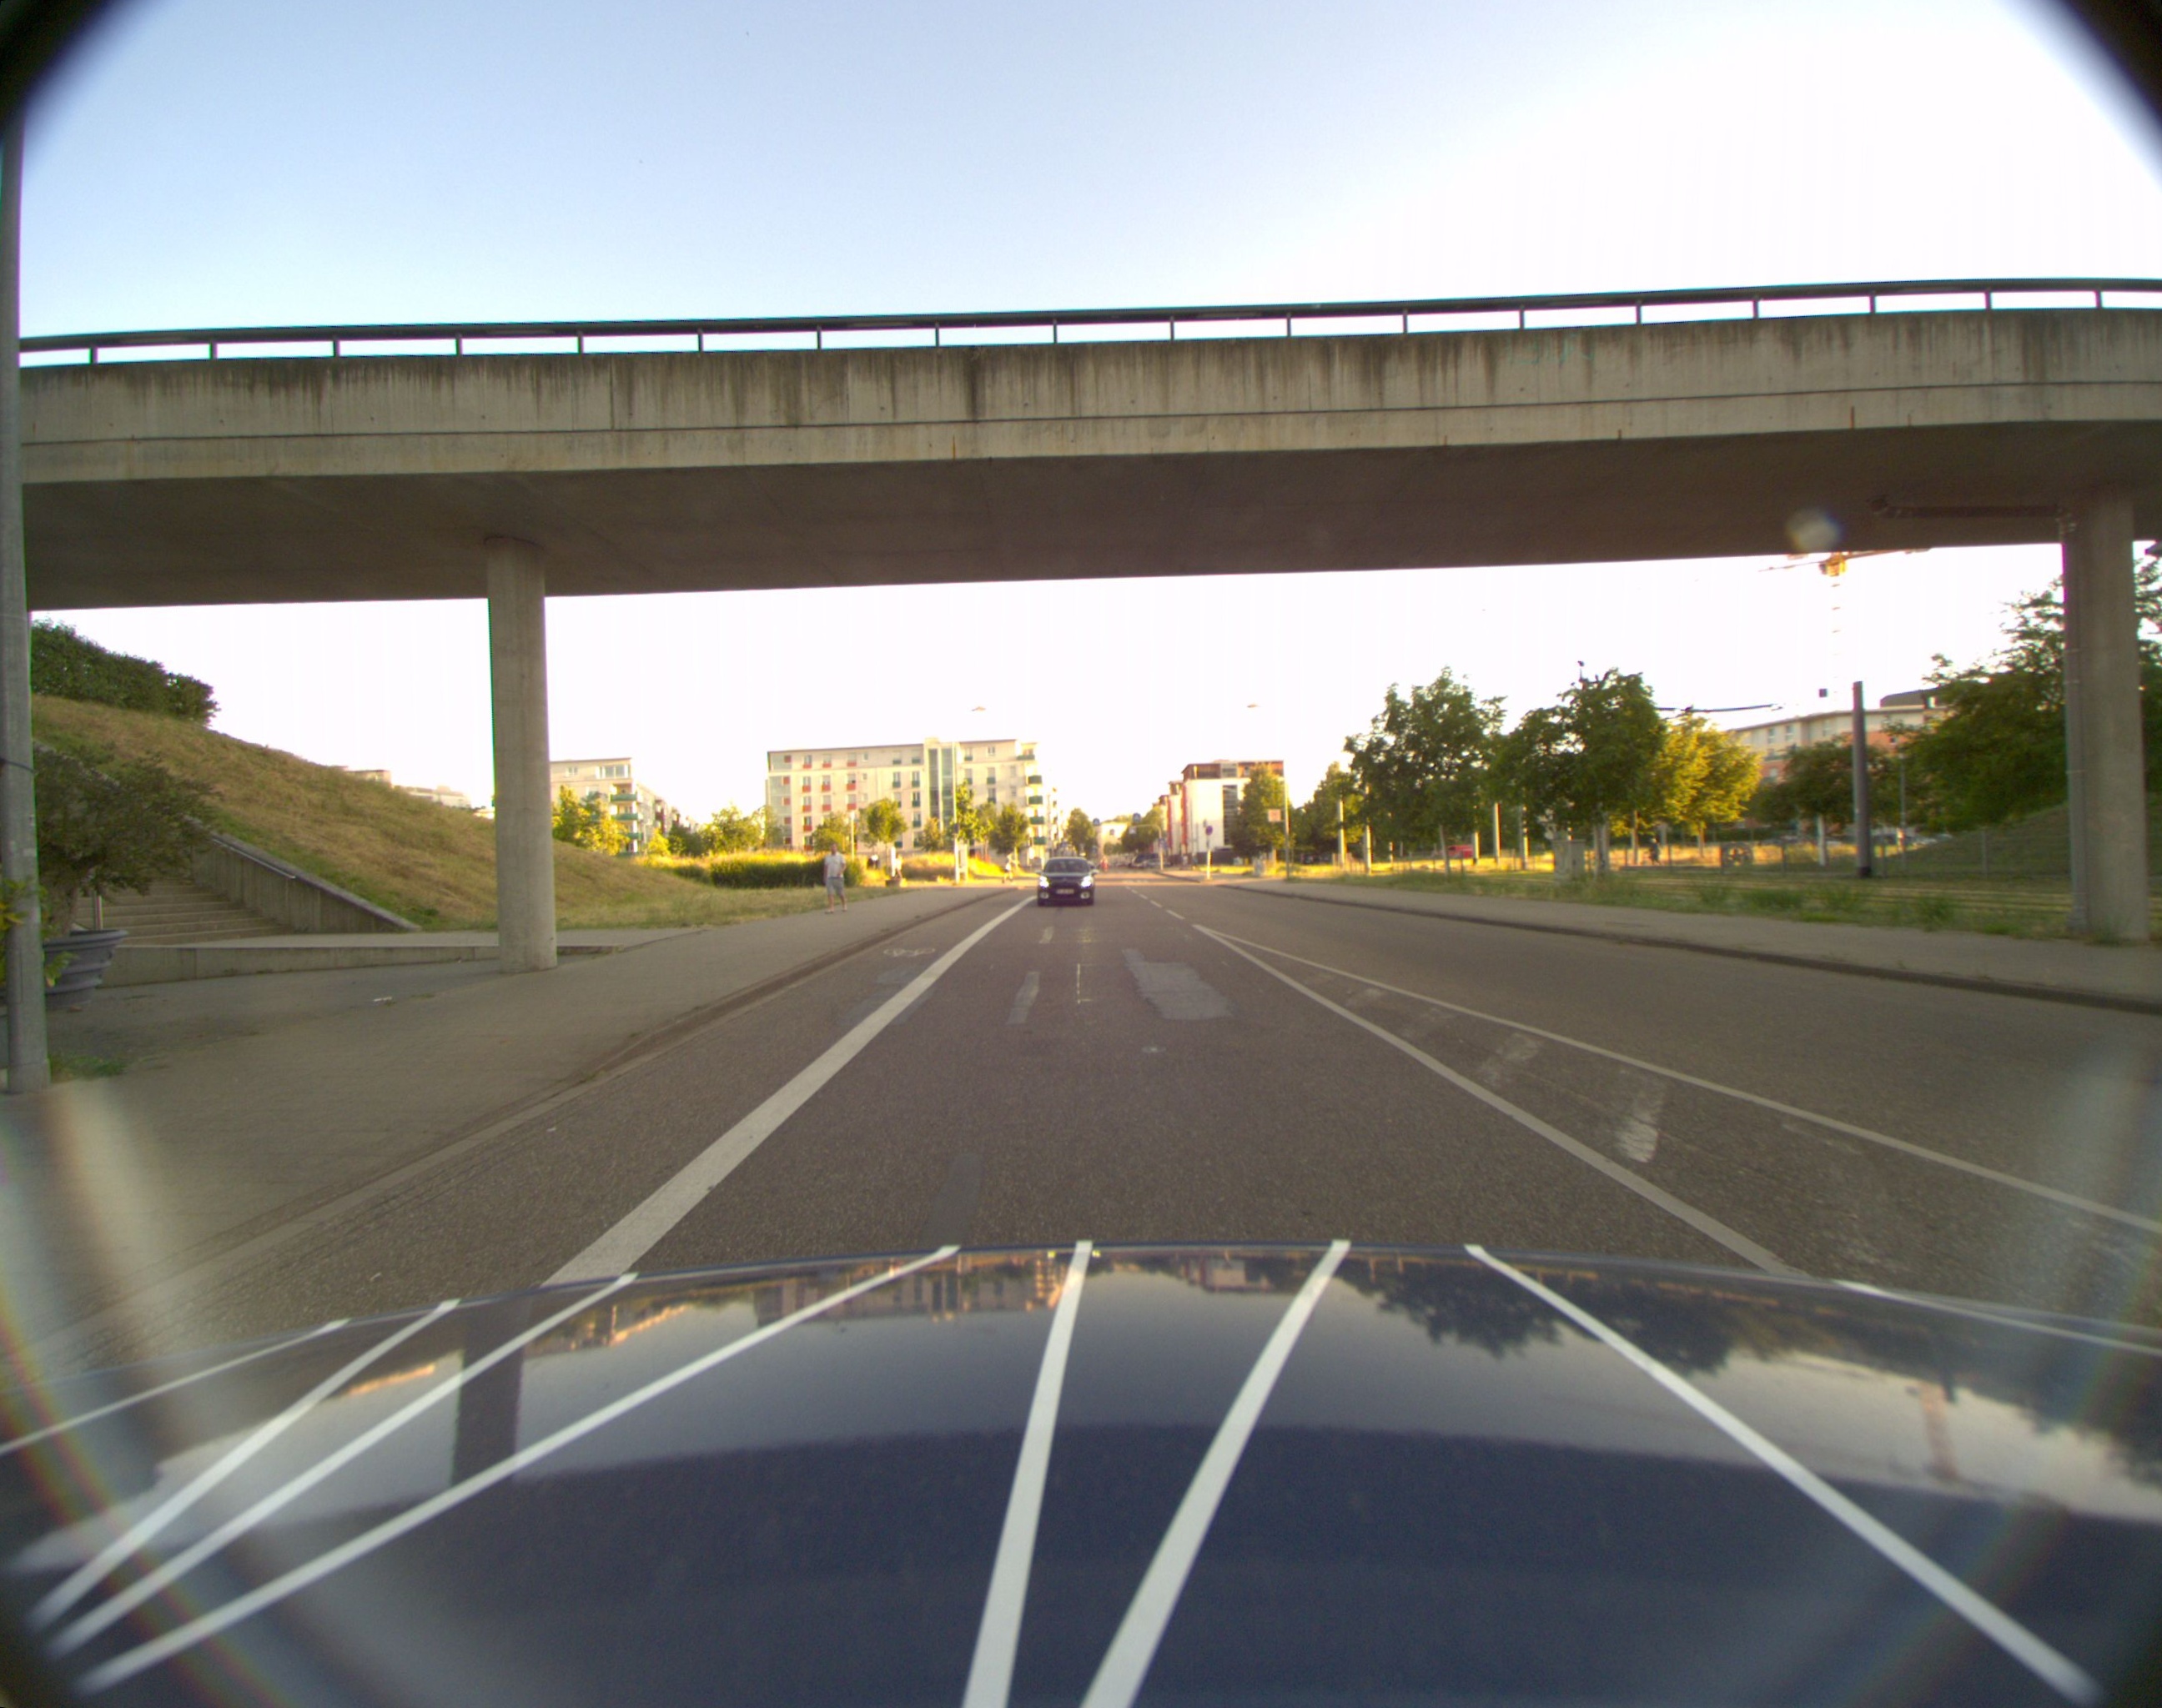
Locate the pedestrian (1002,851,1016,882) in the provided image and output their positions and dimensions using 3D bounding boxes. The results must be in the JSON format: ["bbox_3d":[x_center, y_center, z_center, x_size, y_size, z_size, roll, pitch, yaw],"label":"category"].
[{"bbox_3d":[-3.968,0.681,41.867,0.737,1.714,0.532,0,0,1],"label":"pedestrian"}]

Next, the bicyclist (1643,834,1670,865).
[{"bbox_3d":[31.368,-0.247,41.427,0.910,1.622,0.717,-2,0,-4],"label":"bicyclist"}]

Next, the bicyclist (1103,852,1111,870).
[{"bbox_3d":[2.401,0.643,69.869,0.697,1.630,0.852,-2,0,3],"label":"bicyclist"}]

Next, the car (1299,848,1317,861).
[{"bbox_3d":[29.023,0.055,97.200,1.942,1.521,4.004,-2,0,14],"label":"car"}]

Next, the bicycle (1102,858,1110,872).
[{"bbox_3d":[2.309,0.999,69.887,0.662,1.217,2.439,-2,0,1],"label":"bicycle"}]

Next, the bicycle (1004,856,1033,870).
[{"bbox_3d":[-8.016,1.160,97.217,3.540,1.560,1.018,-2,0,0],"label":"bicycle"}]

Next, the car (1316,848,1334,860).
[{"bbox_3d":[31.091,-0.007,96.845,1.942,1.521,4.004,-2,0,14],"label":"car"}]

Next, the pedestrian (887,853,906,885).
[{"bbox_3d":[-9.373,0.740,38.684,0.737,1.620,0.859,0,0,2],"label":"pedestrian"}]

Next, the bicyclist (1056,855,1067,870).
[{"bbox_3d":[-2.141,0.927,82.441,0.933,1.585,1.066,-2,0,-15],"label":"bicyclist"}]

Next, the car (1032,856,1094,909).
[{"bbox_3d":[-0.480,0.828,23.756,1.739,1.455,4.000,-2,0,1],"label":"car"}]

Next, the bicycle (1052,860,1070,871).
[{"bbox_3d":[-2.184,1.251,82.287,0.901,1.142,3.493,-2,0,-20],"label":"bicycle"}]

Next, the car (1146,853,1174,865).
[{"bbox_3d":[11.764,0.762,113.976,3.996,1.718,2.000,-2,0,2],"label":"car"}]

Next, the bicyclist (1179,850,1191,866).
[{"bbox_3d":[12.170,0.444,88.645,1.036,1.865,0.882,-2,1,-25],"label":"bicyclist"}]

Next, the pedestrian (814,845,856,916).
[{"bbox_3d":[-6.104,0.645,18.922,0.737,1.714,0.906,0,0,1],"label":"pedestrian"}]

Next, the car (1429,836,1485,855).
[{"bbox_3d":[44.445,-0.975,89.844,5.517,2.002,2.002,-2,0,11],"label":"car"}]

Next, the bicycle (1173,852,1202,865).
[{"bbox_3d":[12.476,0.538,88.842,3.325,1.483,0.886,-2,0,-26],"label":"bicycle"}]

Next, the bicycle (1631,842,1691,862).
[{"bbox_3d":[31.589,-0.115,41.397,2.842,1.002,0.655,-2,0,-3],"label":"bicycle"}]
